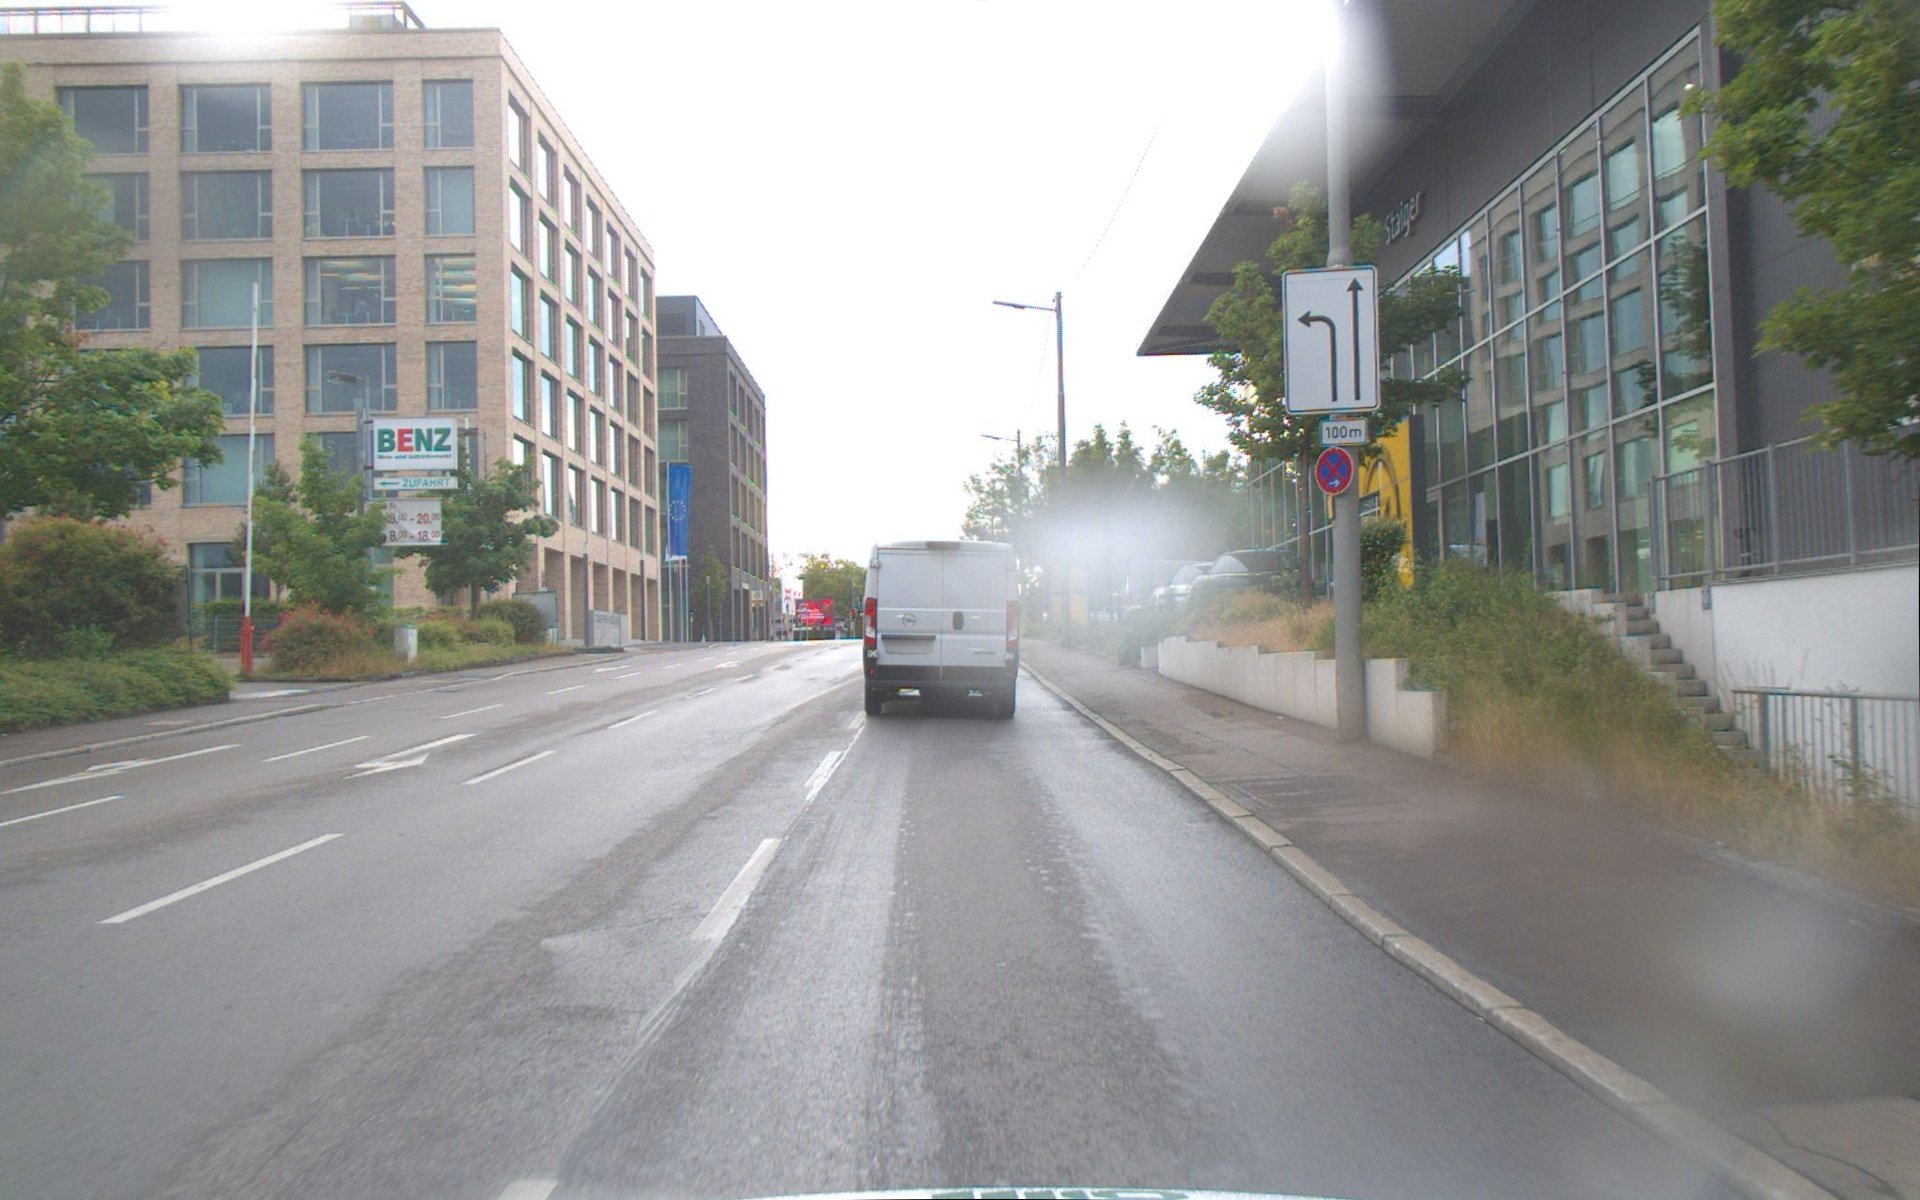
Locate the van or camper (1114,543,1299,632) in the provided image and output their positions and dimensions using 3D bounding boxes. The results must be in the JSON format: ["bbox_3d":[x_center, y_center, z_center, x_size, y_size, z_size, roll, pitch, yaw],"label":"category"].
[{"bbox_3d":[7.921,-0.396,53.541,5.620,2.771,2.351,0,-1,-1],"label":"van or camper"}]

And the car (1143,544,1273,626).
[{"bbox_3d":[5.993,-0.317,39.501,1.953,1.740,4.577,-3,-2,22],"label":"car"}]

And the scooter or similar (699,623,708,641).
[{"bbox_3d":[-15.939,1.985,102.669,0.343,1.090,1.428,-1,-2,0],"label":"scooter or similar"}]

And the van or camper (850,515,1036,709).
[{"bbox_3d":[-0.202,0.163,23.104,2.292,2.398,5.199,0,0,0],"label":"van or camper"}]

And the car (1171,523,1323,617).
[{"bbox_3d":[6.102,-0.574,34.716,1.954,1.740,4.425,-4,-2,25],"label":"car"}]

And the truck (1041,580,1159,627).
[{"bbox_3d":[6.254,0.139,74.376,5.045,2.049,2.344,0,0,-3],"label":"truck"}]
